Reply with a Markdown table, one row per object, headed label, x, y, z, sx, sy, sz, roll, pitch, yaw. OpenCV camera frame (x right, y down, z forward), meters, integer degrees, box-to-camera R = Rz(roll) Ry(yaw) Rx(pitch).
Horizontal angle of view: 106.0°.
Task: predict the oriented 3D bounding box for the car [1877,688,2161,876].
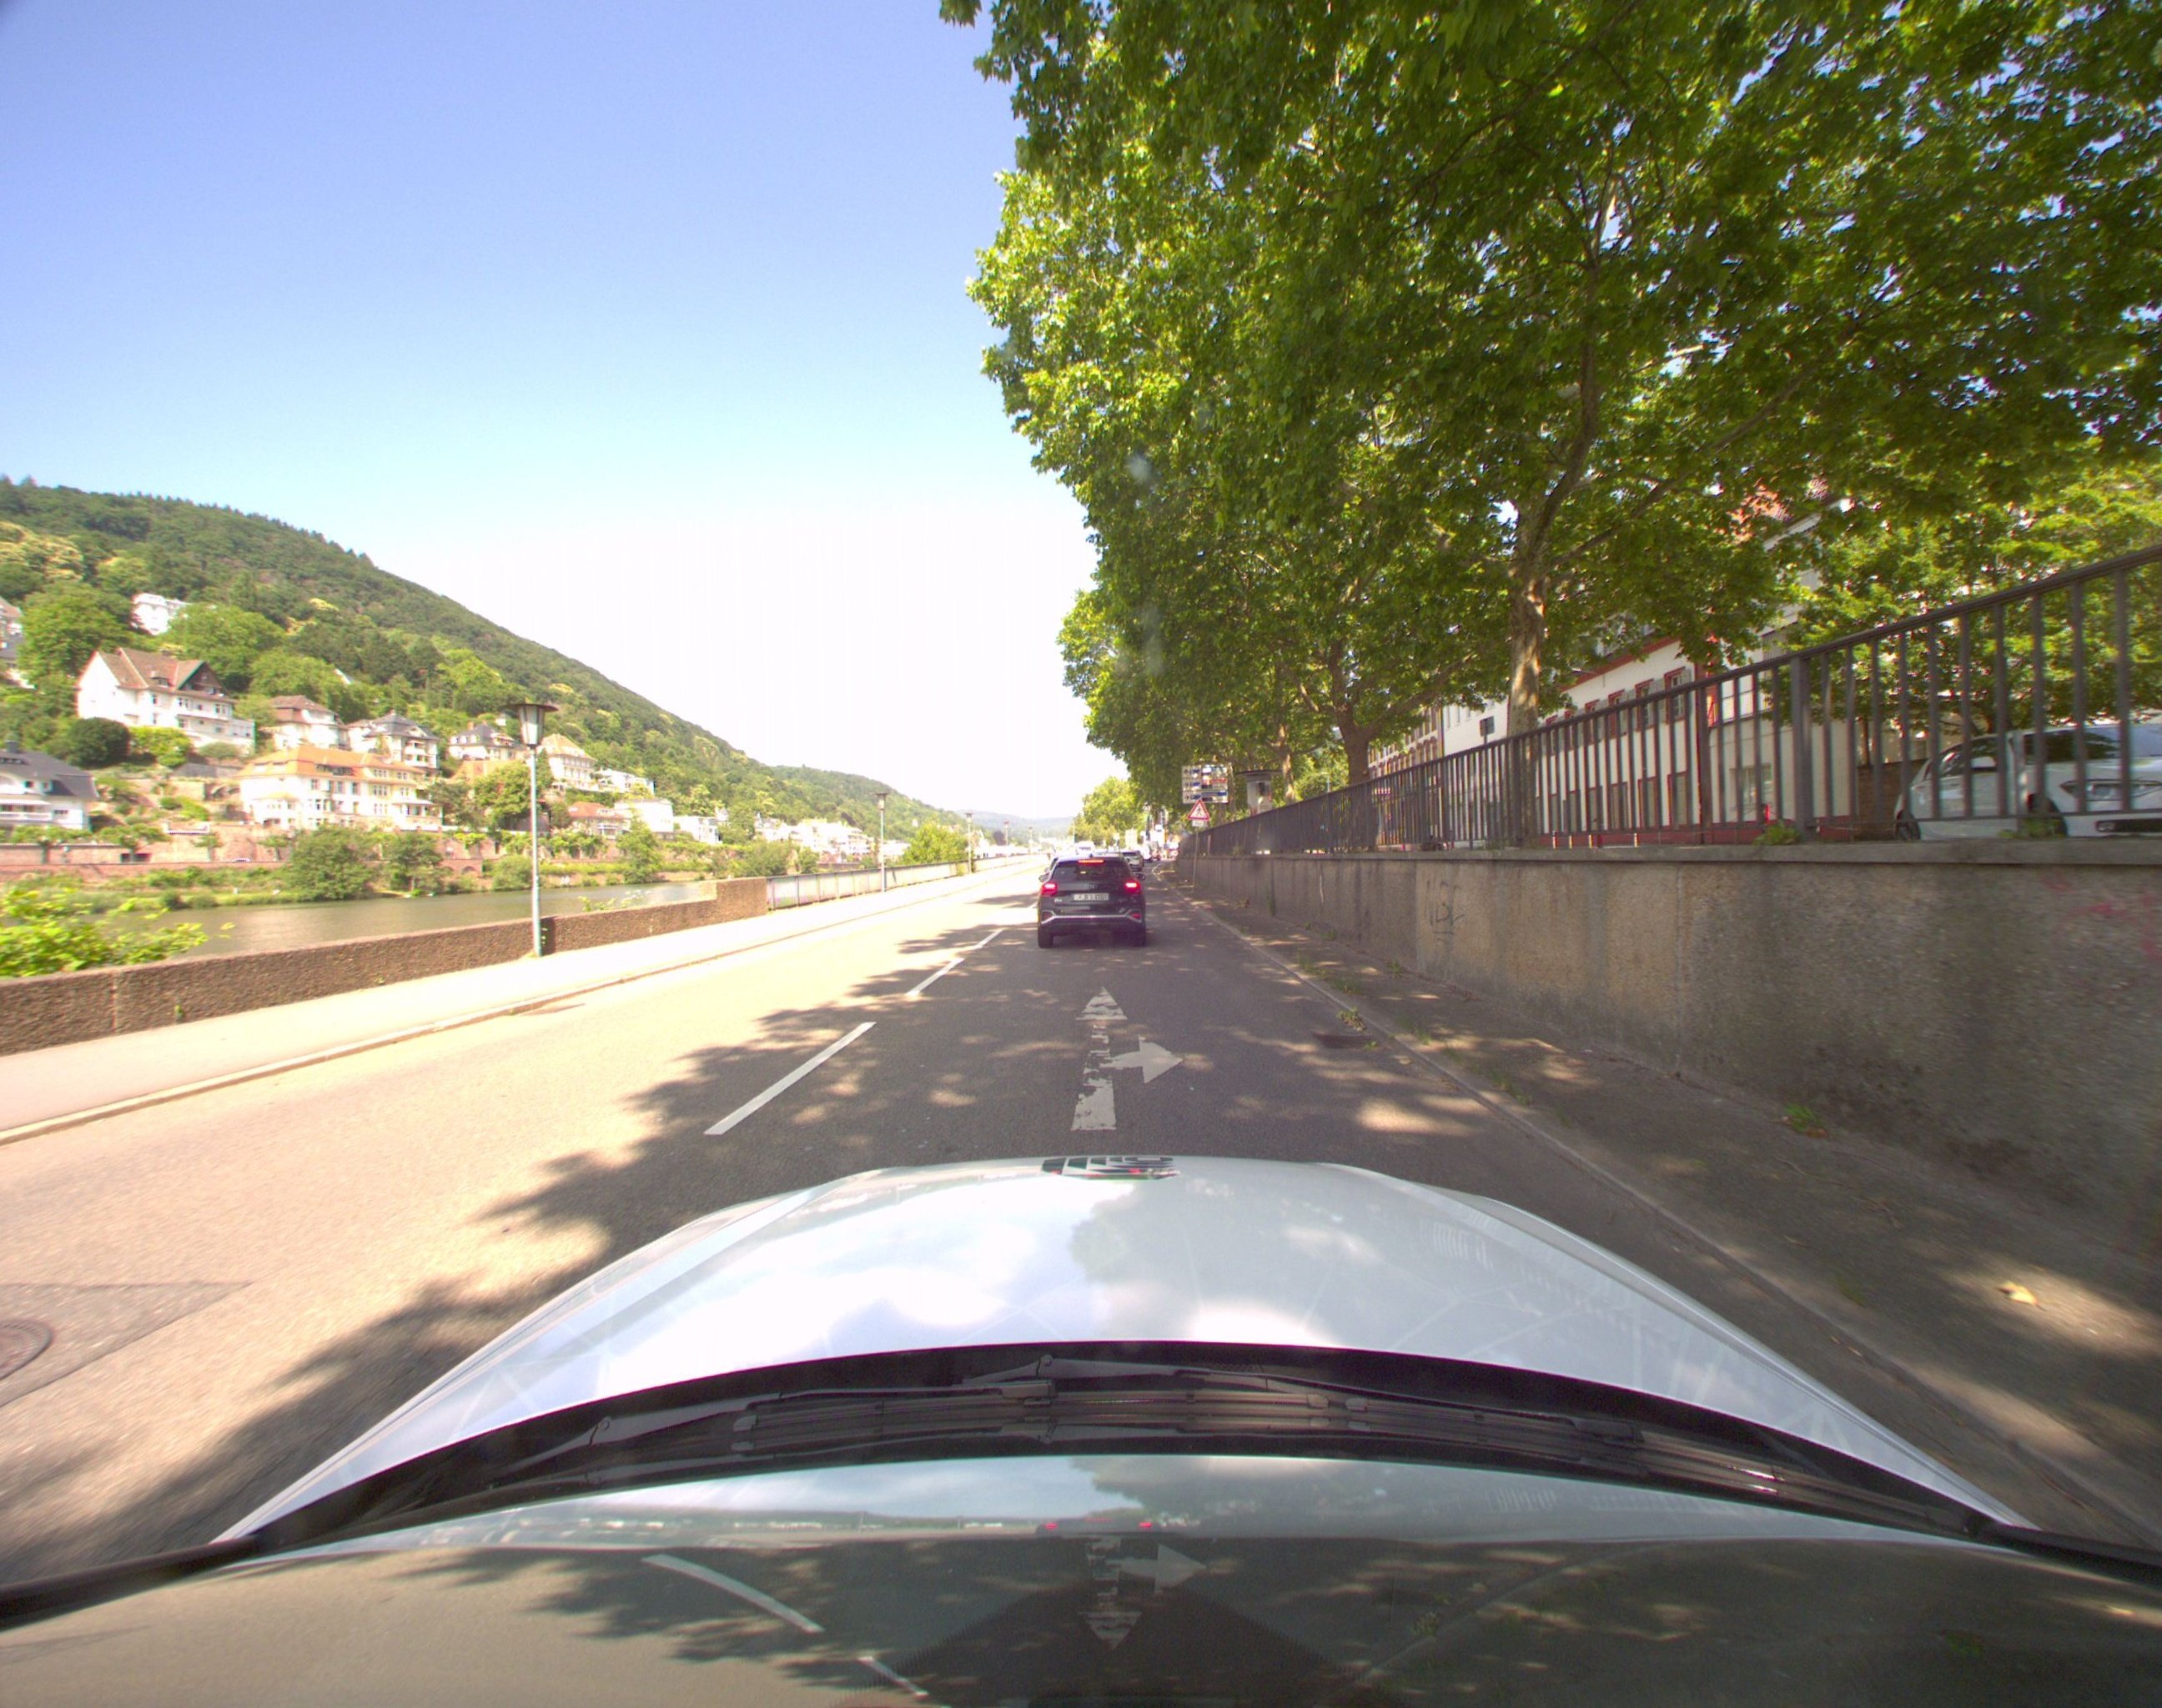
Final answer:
| label | x | y | z | sx | sy | sz | roll | pitch | yaw |
| --- | --- | --- | --- | --- | --- | --- | --- | --- | --- |
| car | 9.677 | -0.583 | 7.957 | 1.757 | 1.469 | 4.025 | -1 | 0 | 30 |

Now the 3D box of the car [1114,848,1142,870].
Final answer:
| label | x | y | z | sx | sy | sz | roll | pitch | yaw |
| --- | --- | --- | --- | --- | --- | --- | --- | --- | --- |
| car | 3.227 | 0.330 | 56.476 | 1.822 | 1.444 | 4.001 | -1 | 0 | 1 |

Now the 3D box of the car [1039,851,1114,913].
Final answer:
| label | x | y | z | sx | sy | sz | roll | pitch | yaw |
| --- | --- | --- | --- | --- | --- | --- | --- | --- | --- |
| car | -0.068 | 0.691 | 22.090 | 1.822 | 1.511 | 4.001 | -1 | 0 | 1 |

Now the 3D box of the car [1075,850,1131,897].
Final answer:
| label | x | y | z | sx | sy | sz | roll | pitch | yaw |
| --- | --- | --- | --- | --- | --- | --- | --- | --- | --- |
| car | 0.754 | 0.634 | 28.611 | 1.822 | 1.486 | 4.001 | -1 | 0 | 1 |

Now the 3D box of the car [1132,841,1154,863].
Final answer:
| label | x | y | z | sx | sy | sz | roll | pitch | yaw |
| --- | --- | --- | --- | --- | --- | --- | --- | --- | --- |
| car | 6.672 | -0.246 | 87.675 | 1.982 | 2.169 | 4.009 | -4 | 0 | 8 |

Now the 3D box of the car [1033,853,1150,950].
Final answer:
| label | x | y | z | sx | sy | sz | roll | pitch | yaw |
| --- | --- | --- | --- | --- | --- | --- | --- | --- | --- |
| car | 0.210 | 0.739 | 14.770 | 1.822 | 1.486 | 4.001 | -1 | 0 | 1 |

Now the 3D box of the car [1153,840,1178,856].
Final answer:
| label | x | y | z | sx | sy | sz | roll | pitch | yaw |
| --- | --- | --- | --- | --- | --- | --- | --- | --- | --- |
| car | 12.316 | -0.864 | 119.178 | 3.087 | 2.013 | 5.825 | -4 | 0 | 1 |

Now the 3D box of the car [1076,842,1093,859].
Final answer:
| label | x | y | z | sx | sy | sz | roll | pitch | yaw |
| --- | --- | --- | --- | --- | --- | --- | --- | --- | --- |
| car | 0.484 | -0.469 | 103.039 | 1.986 | 2.013 | 4.001 | -4 | 0 | 1 |

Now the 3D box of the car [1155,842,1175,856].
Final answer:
| label | x | y | z | sx | sy | sz | roll | pitch | yaw |
| --- | --- | --- | --- | --- | --- | --- | --- | --- | --- |
| car | 13.605 | -0.769 | 132.750 | 2.652 | 2.013 | 5.826 | -4 | 0 | 1 |

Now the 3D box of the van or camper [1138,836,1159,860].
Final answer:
| label | x | y | z | sx | sy | sz | roll | pitch | yaw |
| --- | --- | --- | --- | --- | --- | --- | --- | --- | --- |
| van or camper | 8.377 | -0.731 | 100.881 | 2.300 | 2.847 | 4.249 | -4 | 0 | 3 |
